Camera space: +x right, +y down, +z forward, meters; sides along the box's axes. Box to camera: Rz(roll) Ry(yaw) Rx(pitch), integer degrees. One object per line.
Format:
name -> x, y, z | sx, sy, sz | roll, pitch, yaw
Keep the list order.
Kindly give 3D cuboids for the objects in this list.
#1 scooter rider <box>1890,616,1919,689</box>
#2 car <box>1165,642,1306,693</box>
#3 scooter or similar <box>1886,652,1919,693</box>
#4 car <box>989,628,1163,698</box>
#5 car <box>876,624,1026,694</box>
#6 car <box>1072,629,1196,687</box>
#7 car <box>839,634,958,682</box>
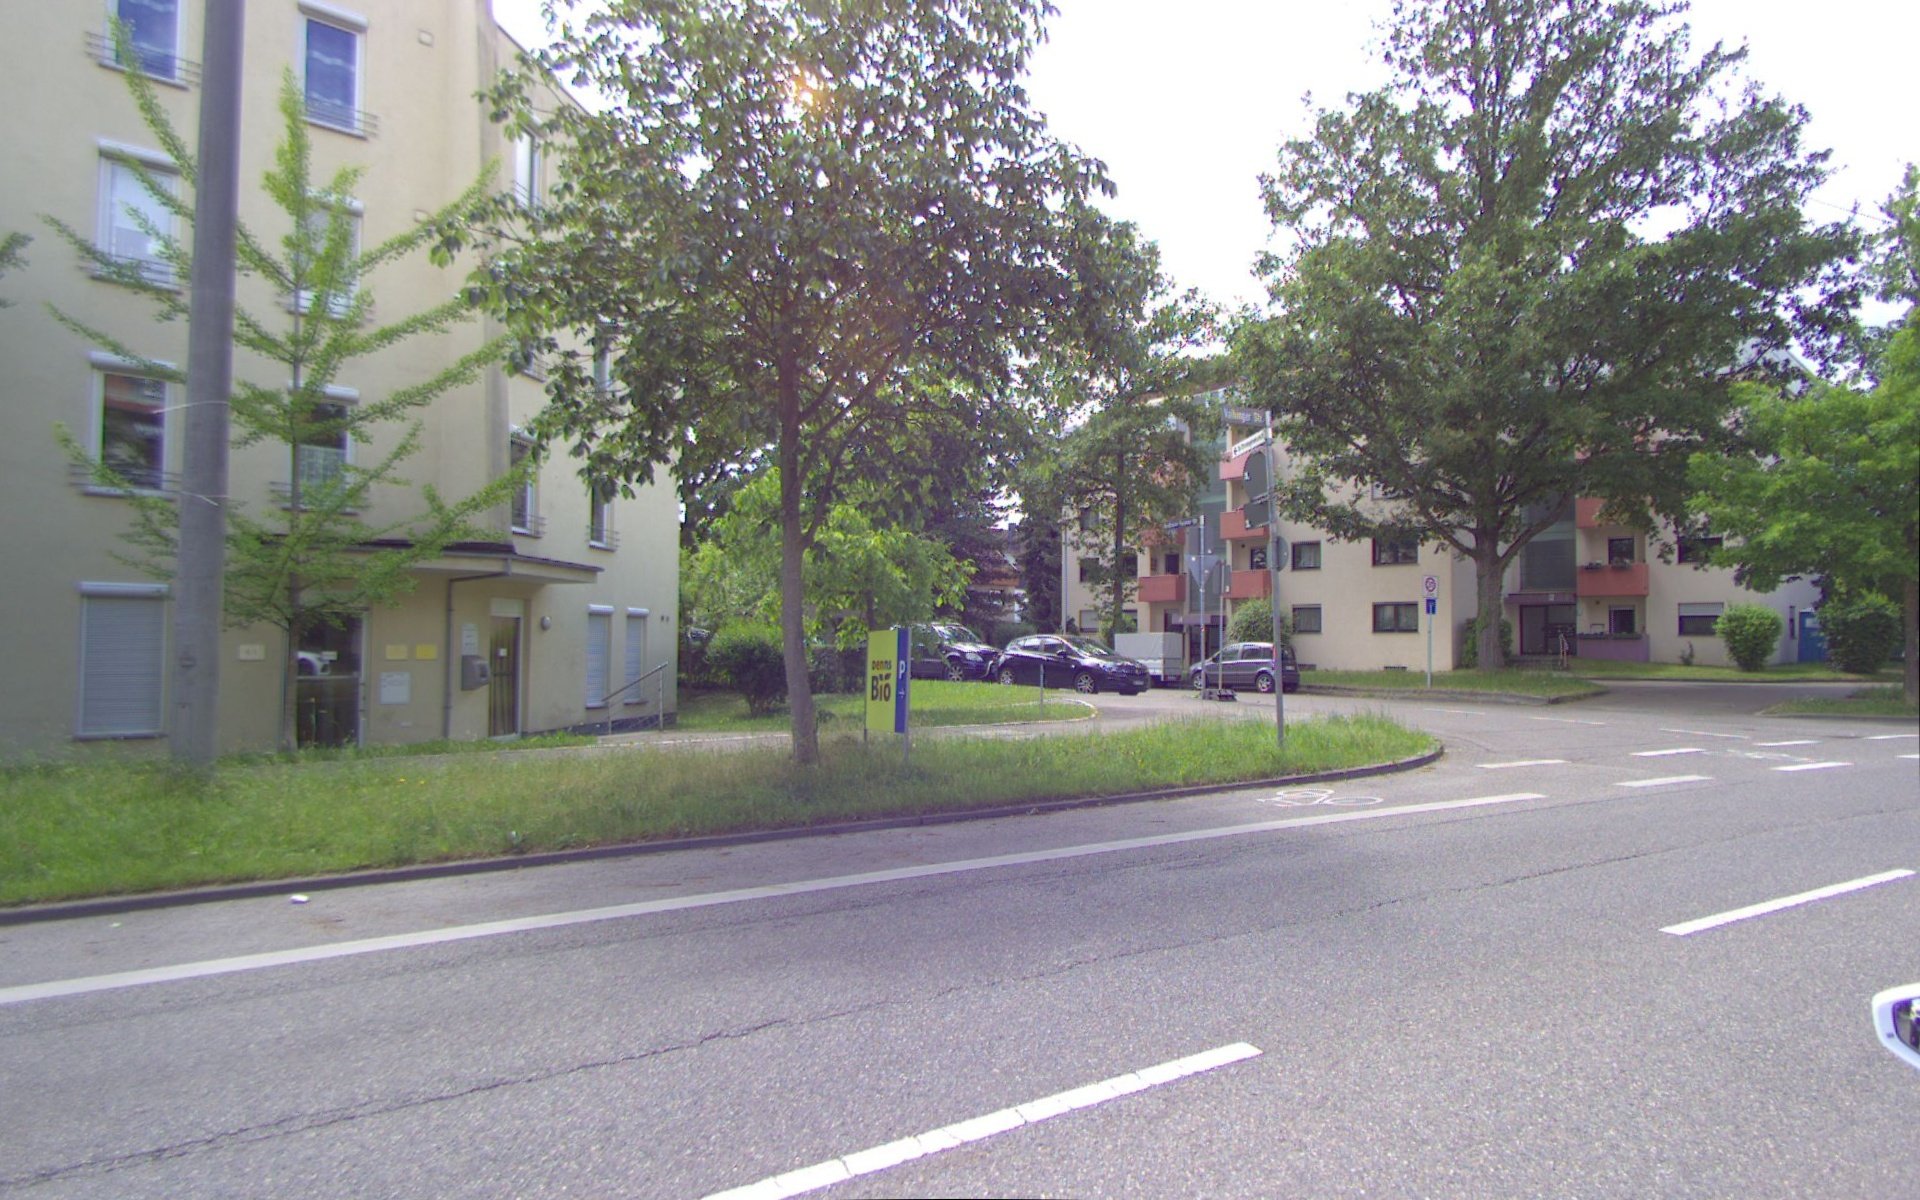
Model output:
scooter rider -> 27.077, 1.480, 28.573 | 0.785, 2.040, 0.673 | 2, 0, -30
car -> 8.556, 2.067, 31.374 | 3.946, 1.471, 1.686 | -2, -3, 44
scooter or similar -> 27.046, 2.064, 28.598 | 0.933, 1.098, 0.753 | 2, 0, -30
car -> 2.750, 1.470, 24.549 | 1.724, 1.417, 4.101 | 2, 0, -42
car -> -0.331, 1.605, 28.630 | 1.857, 1.675, 4.380 | 2, 0, -41
car -> 5.986, 2.053, 34.891 | 1.832, 1.868, 3.953 | 2, -5, -42
car -> -2.467, 2.276, 40.210 | 4.338, 1.817, 2.123 | -1, -2, 28
